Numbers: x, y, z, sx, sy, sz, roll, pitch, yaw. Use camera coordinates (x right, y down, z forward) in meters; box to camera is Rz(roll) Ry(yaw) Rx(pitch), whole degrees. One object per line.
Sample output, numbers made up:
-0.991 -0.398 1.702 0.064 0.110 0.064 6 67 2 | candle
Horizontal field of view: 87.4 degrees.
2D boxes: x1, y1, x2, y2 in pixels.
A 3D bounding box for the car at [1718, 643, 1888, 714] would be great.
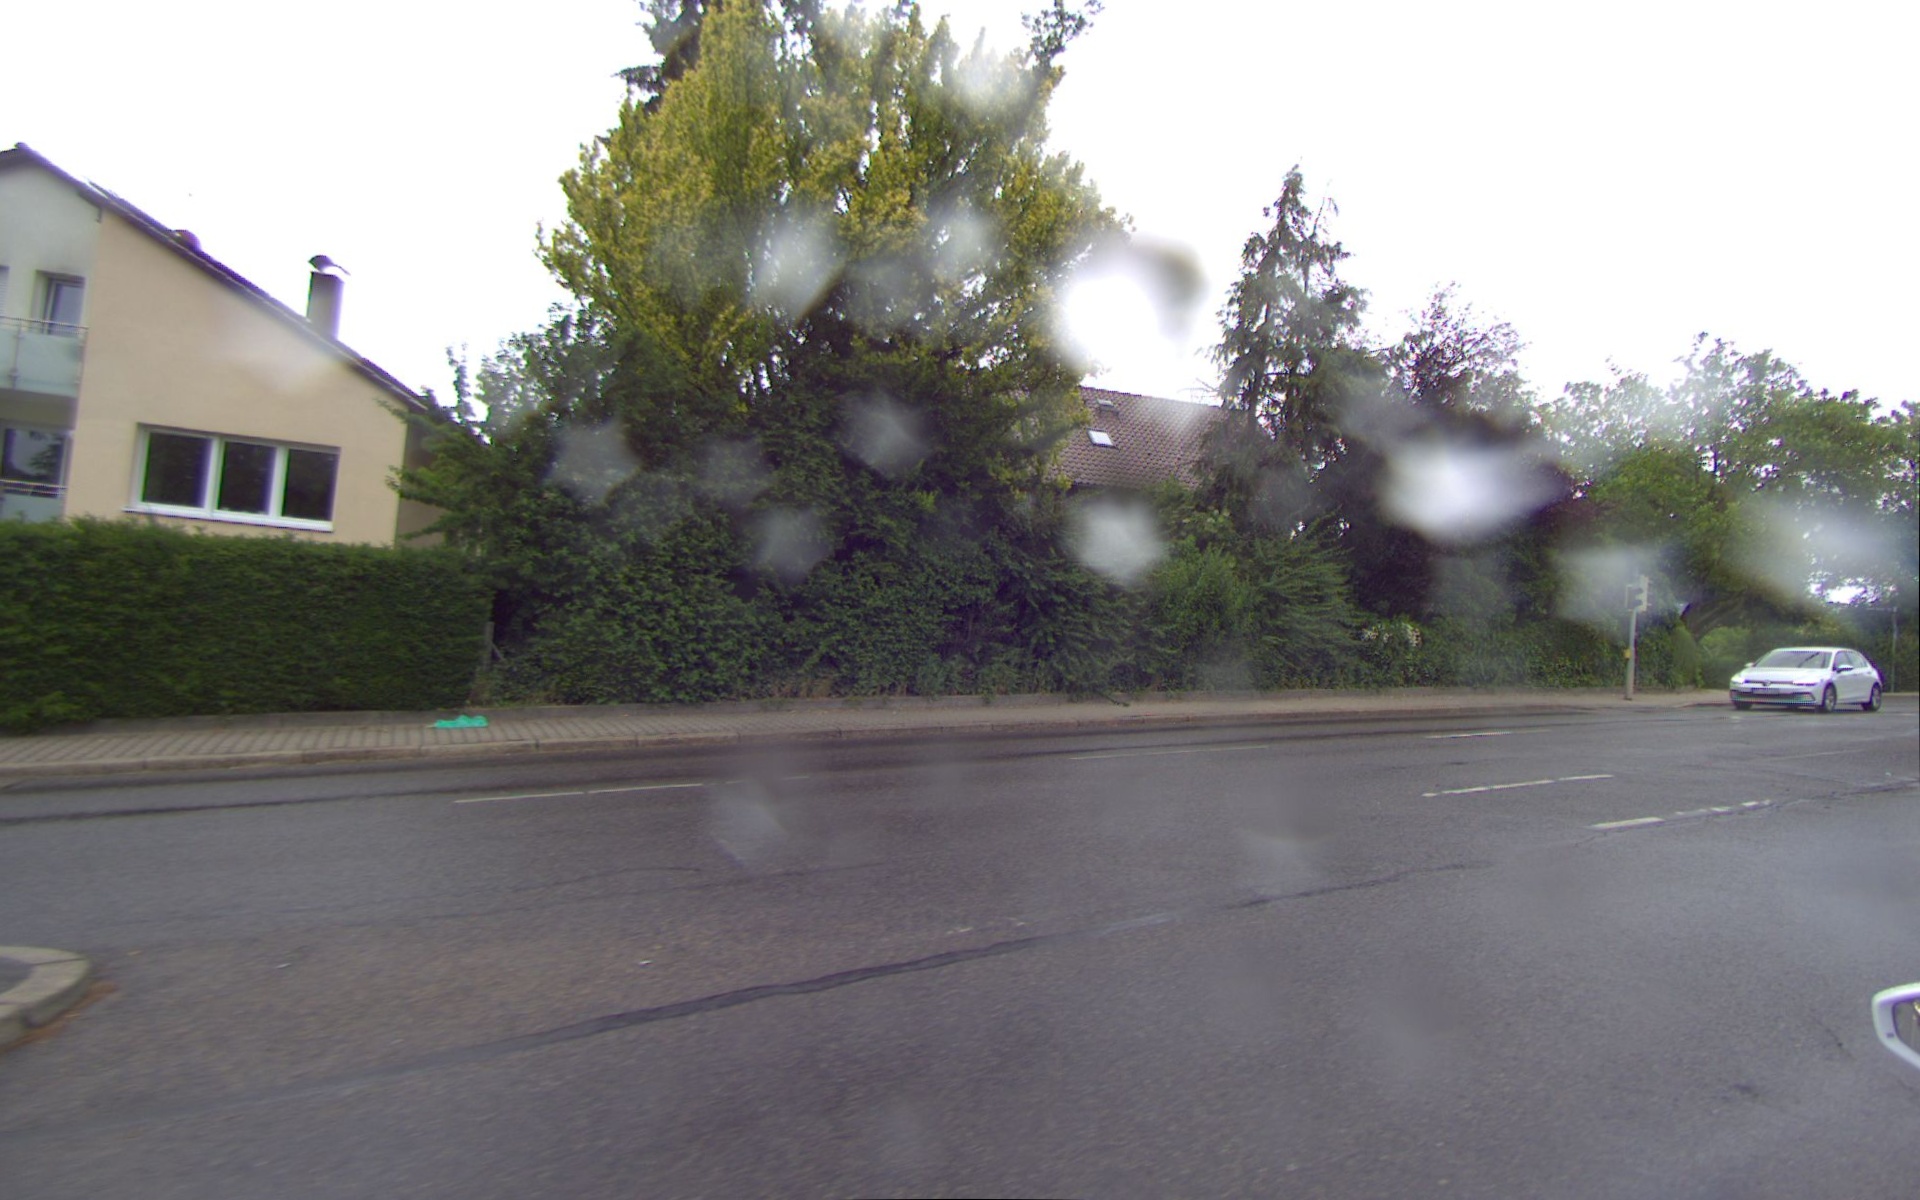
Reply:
19.660 1.780 23.400 4.107 1.505 1.720 2 -3 -30 | car
